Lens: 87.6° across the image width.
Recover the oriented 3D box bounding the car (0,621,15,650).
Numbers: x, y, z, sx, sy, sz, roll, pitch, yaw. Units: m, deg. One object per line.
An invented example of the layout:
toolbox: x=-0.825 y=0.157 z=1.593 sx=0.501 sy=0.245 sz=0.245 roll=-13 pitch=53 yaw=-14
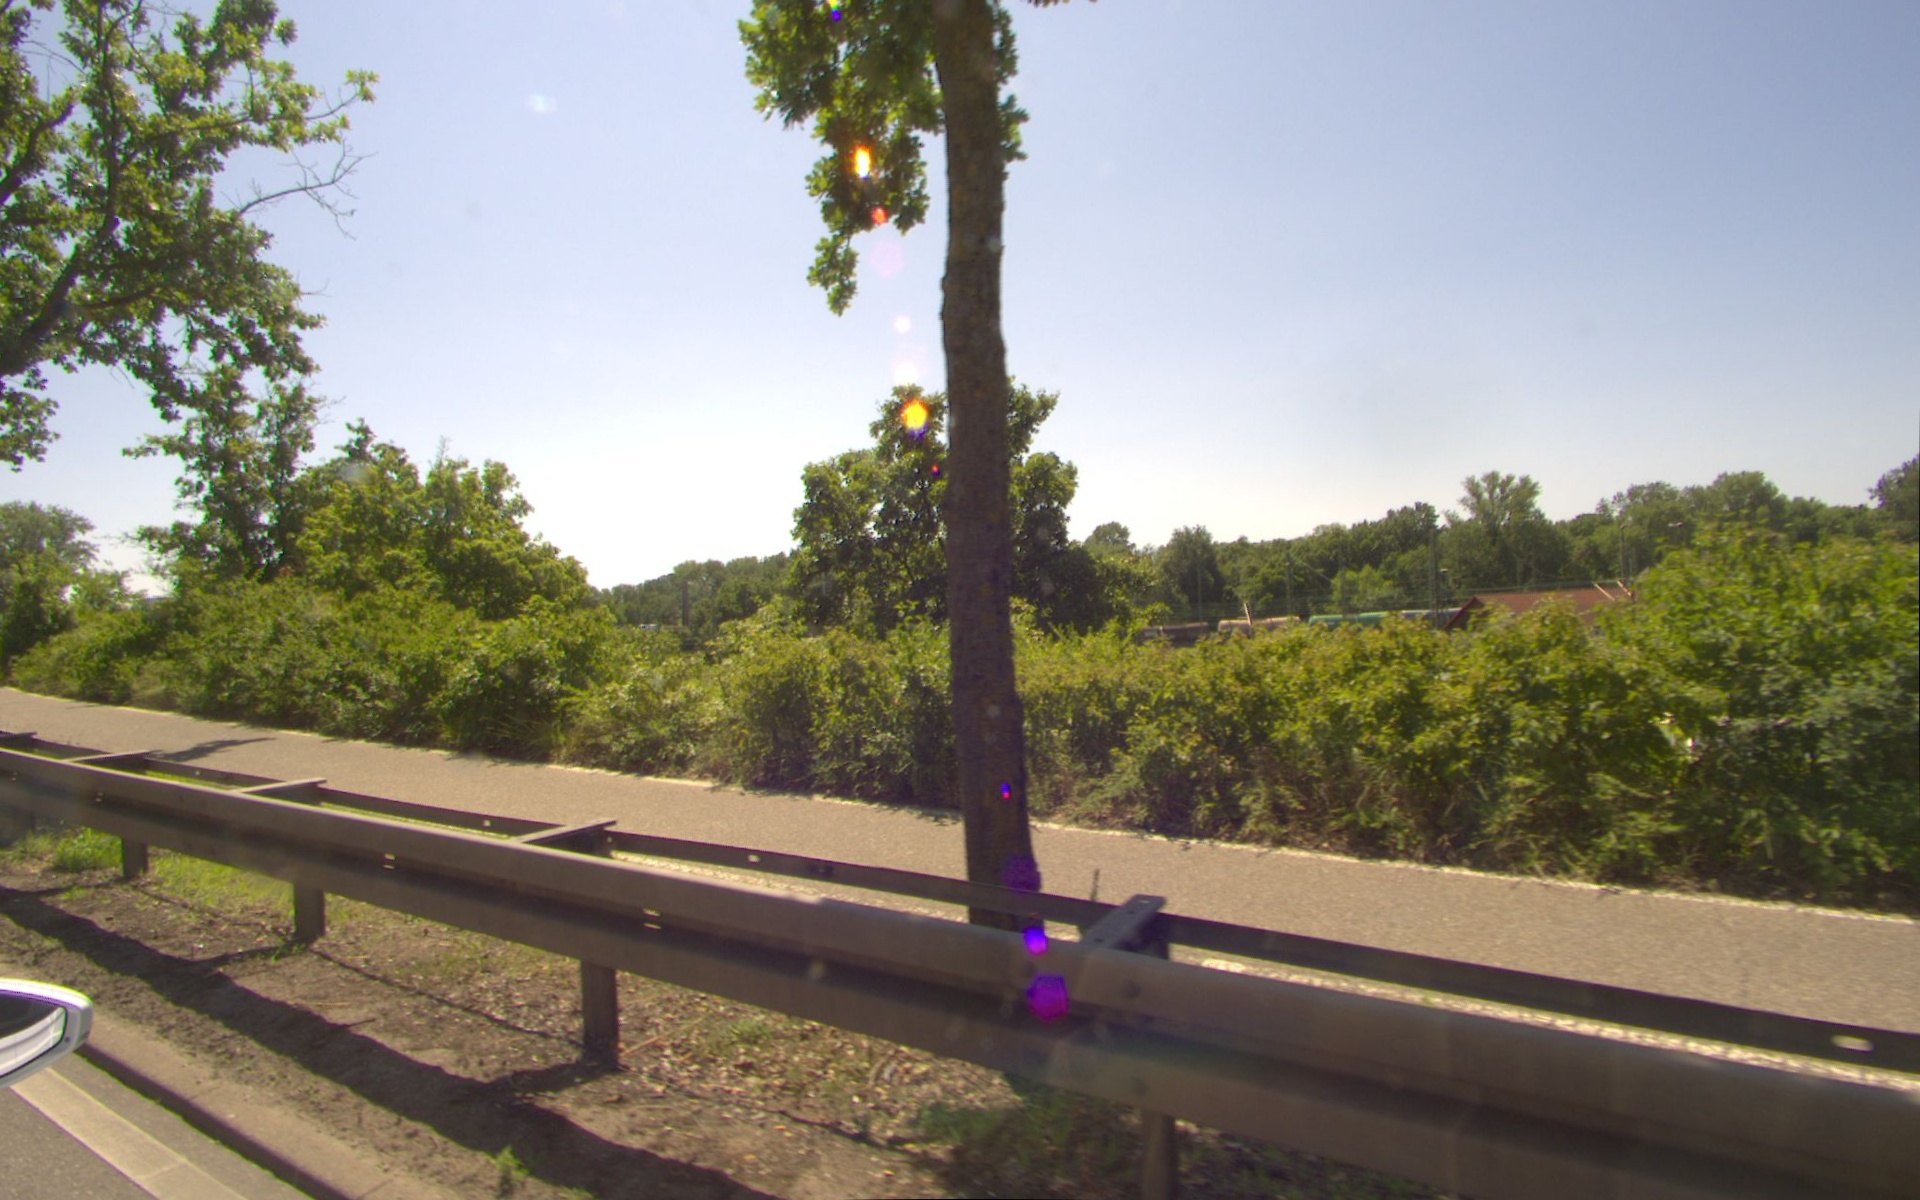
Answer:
car: x=-57.645 y=2.102 z=58.988 sx=1.973 sy=1.739 sz=4.841 roll=1 pitch=-2 yaw=-32

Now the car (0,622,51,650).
car: x=-61.467 y=2.340 z=65.516 sx=1.972 sy=1.790 sz=4.730 roll=1 pitch=-2 yaw=-31
